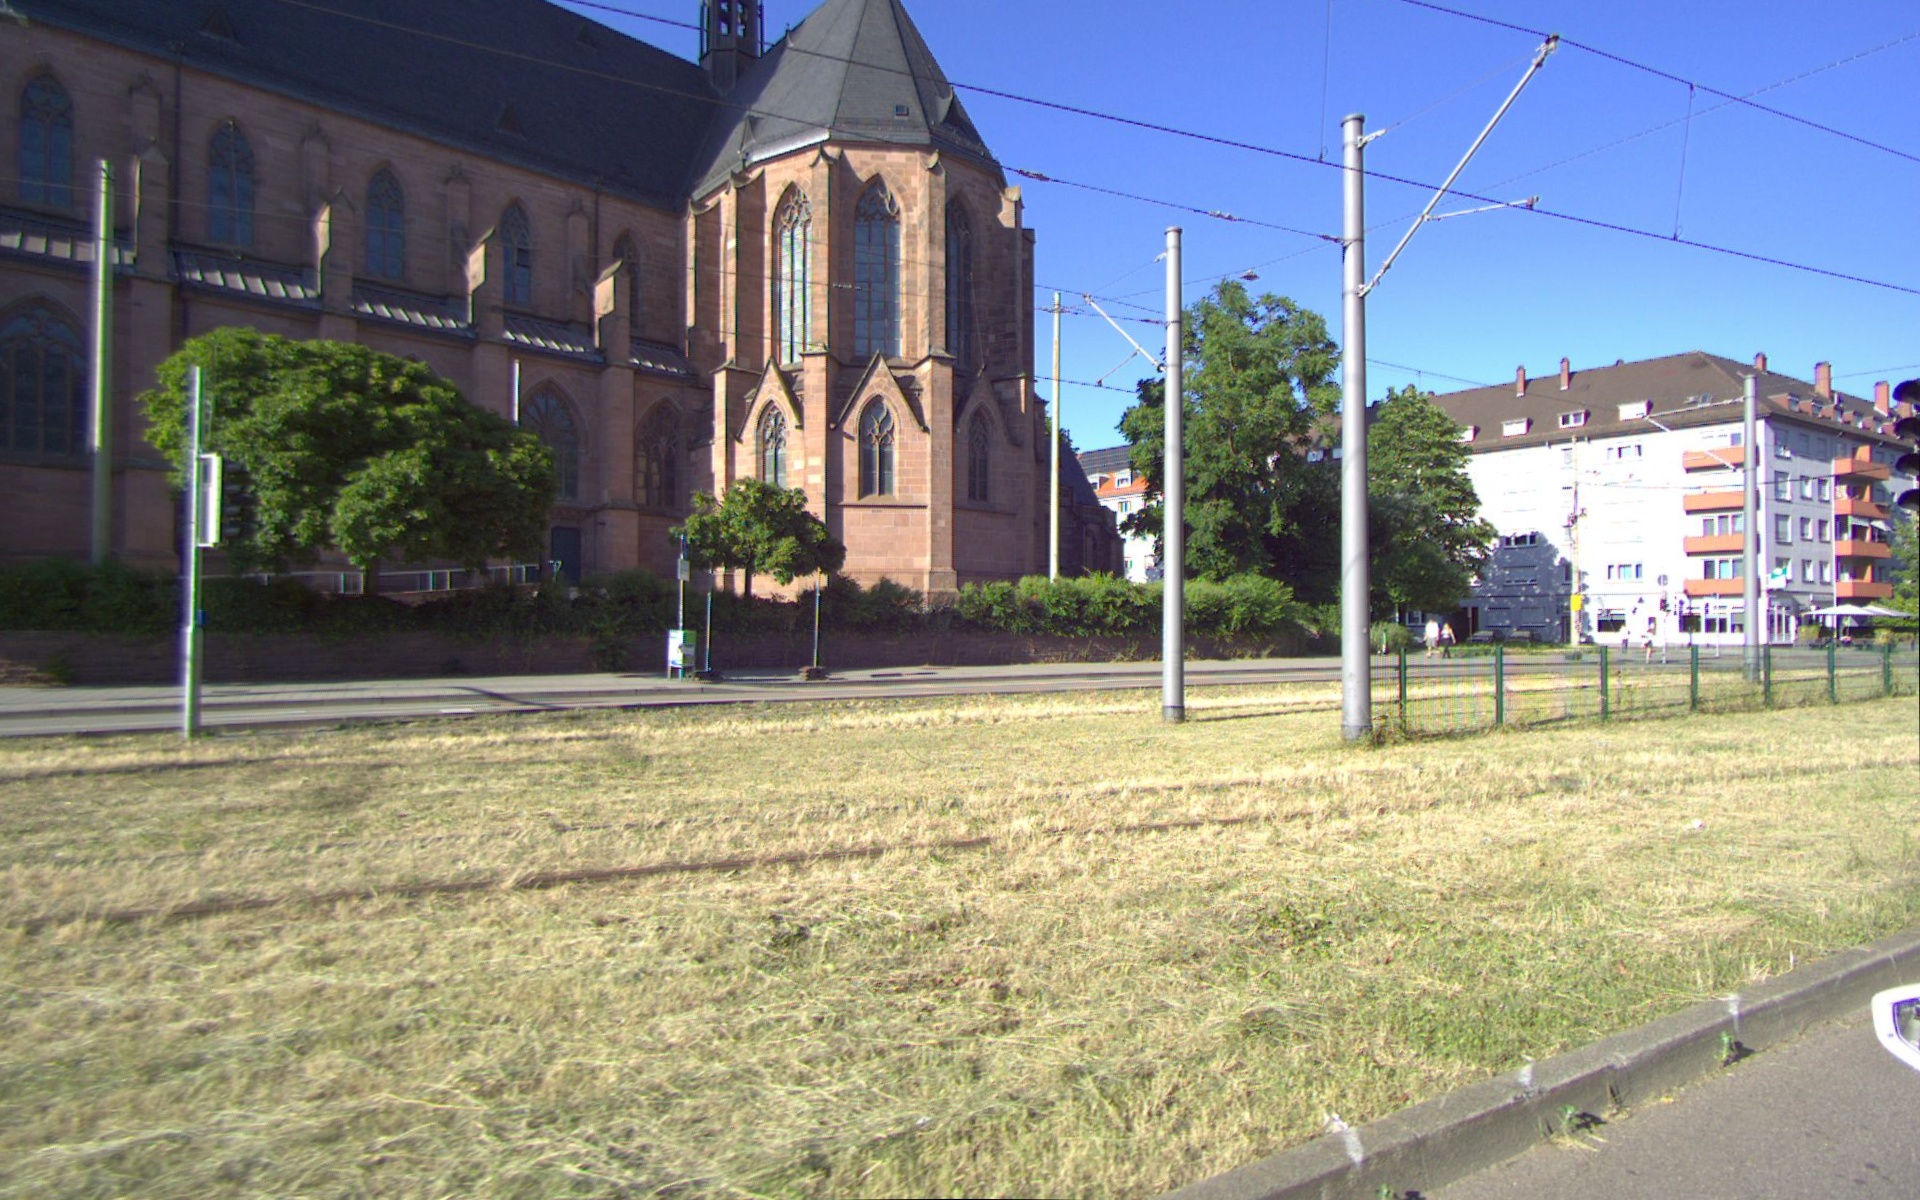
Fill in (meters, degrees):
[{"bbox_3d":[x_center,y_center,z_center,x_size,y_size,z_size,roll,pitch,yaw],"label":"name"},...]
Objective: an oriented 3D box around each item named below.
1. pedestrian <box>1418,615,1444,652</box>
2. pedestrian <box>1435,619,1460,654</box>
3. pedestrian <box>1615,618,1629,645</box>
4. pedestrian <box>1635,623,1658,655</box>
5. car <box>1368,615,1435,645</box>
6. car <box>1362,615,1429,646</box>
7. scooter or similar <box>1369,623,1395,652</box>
[{"bbox_3d":[21.449,1.536,45.740,0.887,1.619,0.641,-2,0,-30],"label":"pedestrian"},{"bbox_3d":[21.986,1.639,45.293,0.905,1.487,0.586,-2,0,-30],"label":"pedestrian"},{"bbox_3d":[37.657,1.796,57.137,0.580,1.487,0.914,-3,0,30],"label":"pedestrian"},{"bbox_3d":[32.914,1.879,48.154,0.583,1.487,0.686,-2,0,-26],"label":"pedestrian"},{"bbox_3d":[32.088,2.202,73.076,1.984,2.040,3.954,-2,-1,-40],"label":"car"},{"bbox_3d":[31.574,2.227,72.960,1.984,2.040,3.954,-2,-1,-40],"label":"car"},{"bbox_3d":[19.504,1.723,46.432,1.216,1.278,0.399,-2,0,-30],"label":"scooter or similar"}]
